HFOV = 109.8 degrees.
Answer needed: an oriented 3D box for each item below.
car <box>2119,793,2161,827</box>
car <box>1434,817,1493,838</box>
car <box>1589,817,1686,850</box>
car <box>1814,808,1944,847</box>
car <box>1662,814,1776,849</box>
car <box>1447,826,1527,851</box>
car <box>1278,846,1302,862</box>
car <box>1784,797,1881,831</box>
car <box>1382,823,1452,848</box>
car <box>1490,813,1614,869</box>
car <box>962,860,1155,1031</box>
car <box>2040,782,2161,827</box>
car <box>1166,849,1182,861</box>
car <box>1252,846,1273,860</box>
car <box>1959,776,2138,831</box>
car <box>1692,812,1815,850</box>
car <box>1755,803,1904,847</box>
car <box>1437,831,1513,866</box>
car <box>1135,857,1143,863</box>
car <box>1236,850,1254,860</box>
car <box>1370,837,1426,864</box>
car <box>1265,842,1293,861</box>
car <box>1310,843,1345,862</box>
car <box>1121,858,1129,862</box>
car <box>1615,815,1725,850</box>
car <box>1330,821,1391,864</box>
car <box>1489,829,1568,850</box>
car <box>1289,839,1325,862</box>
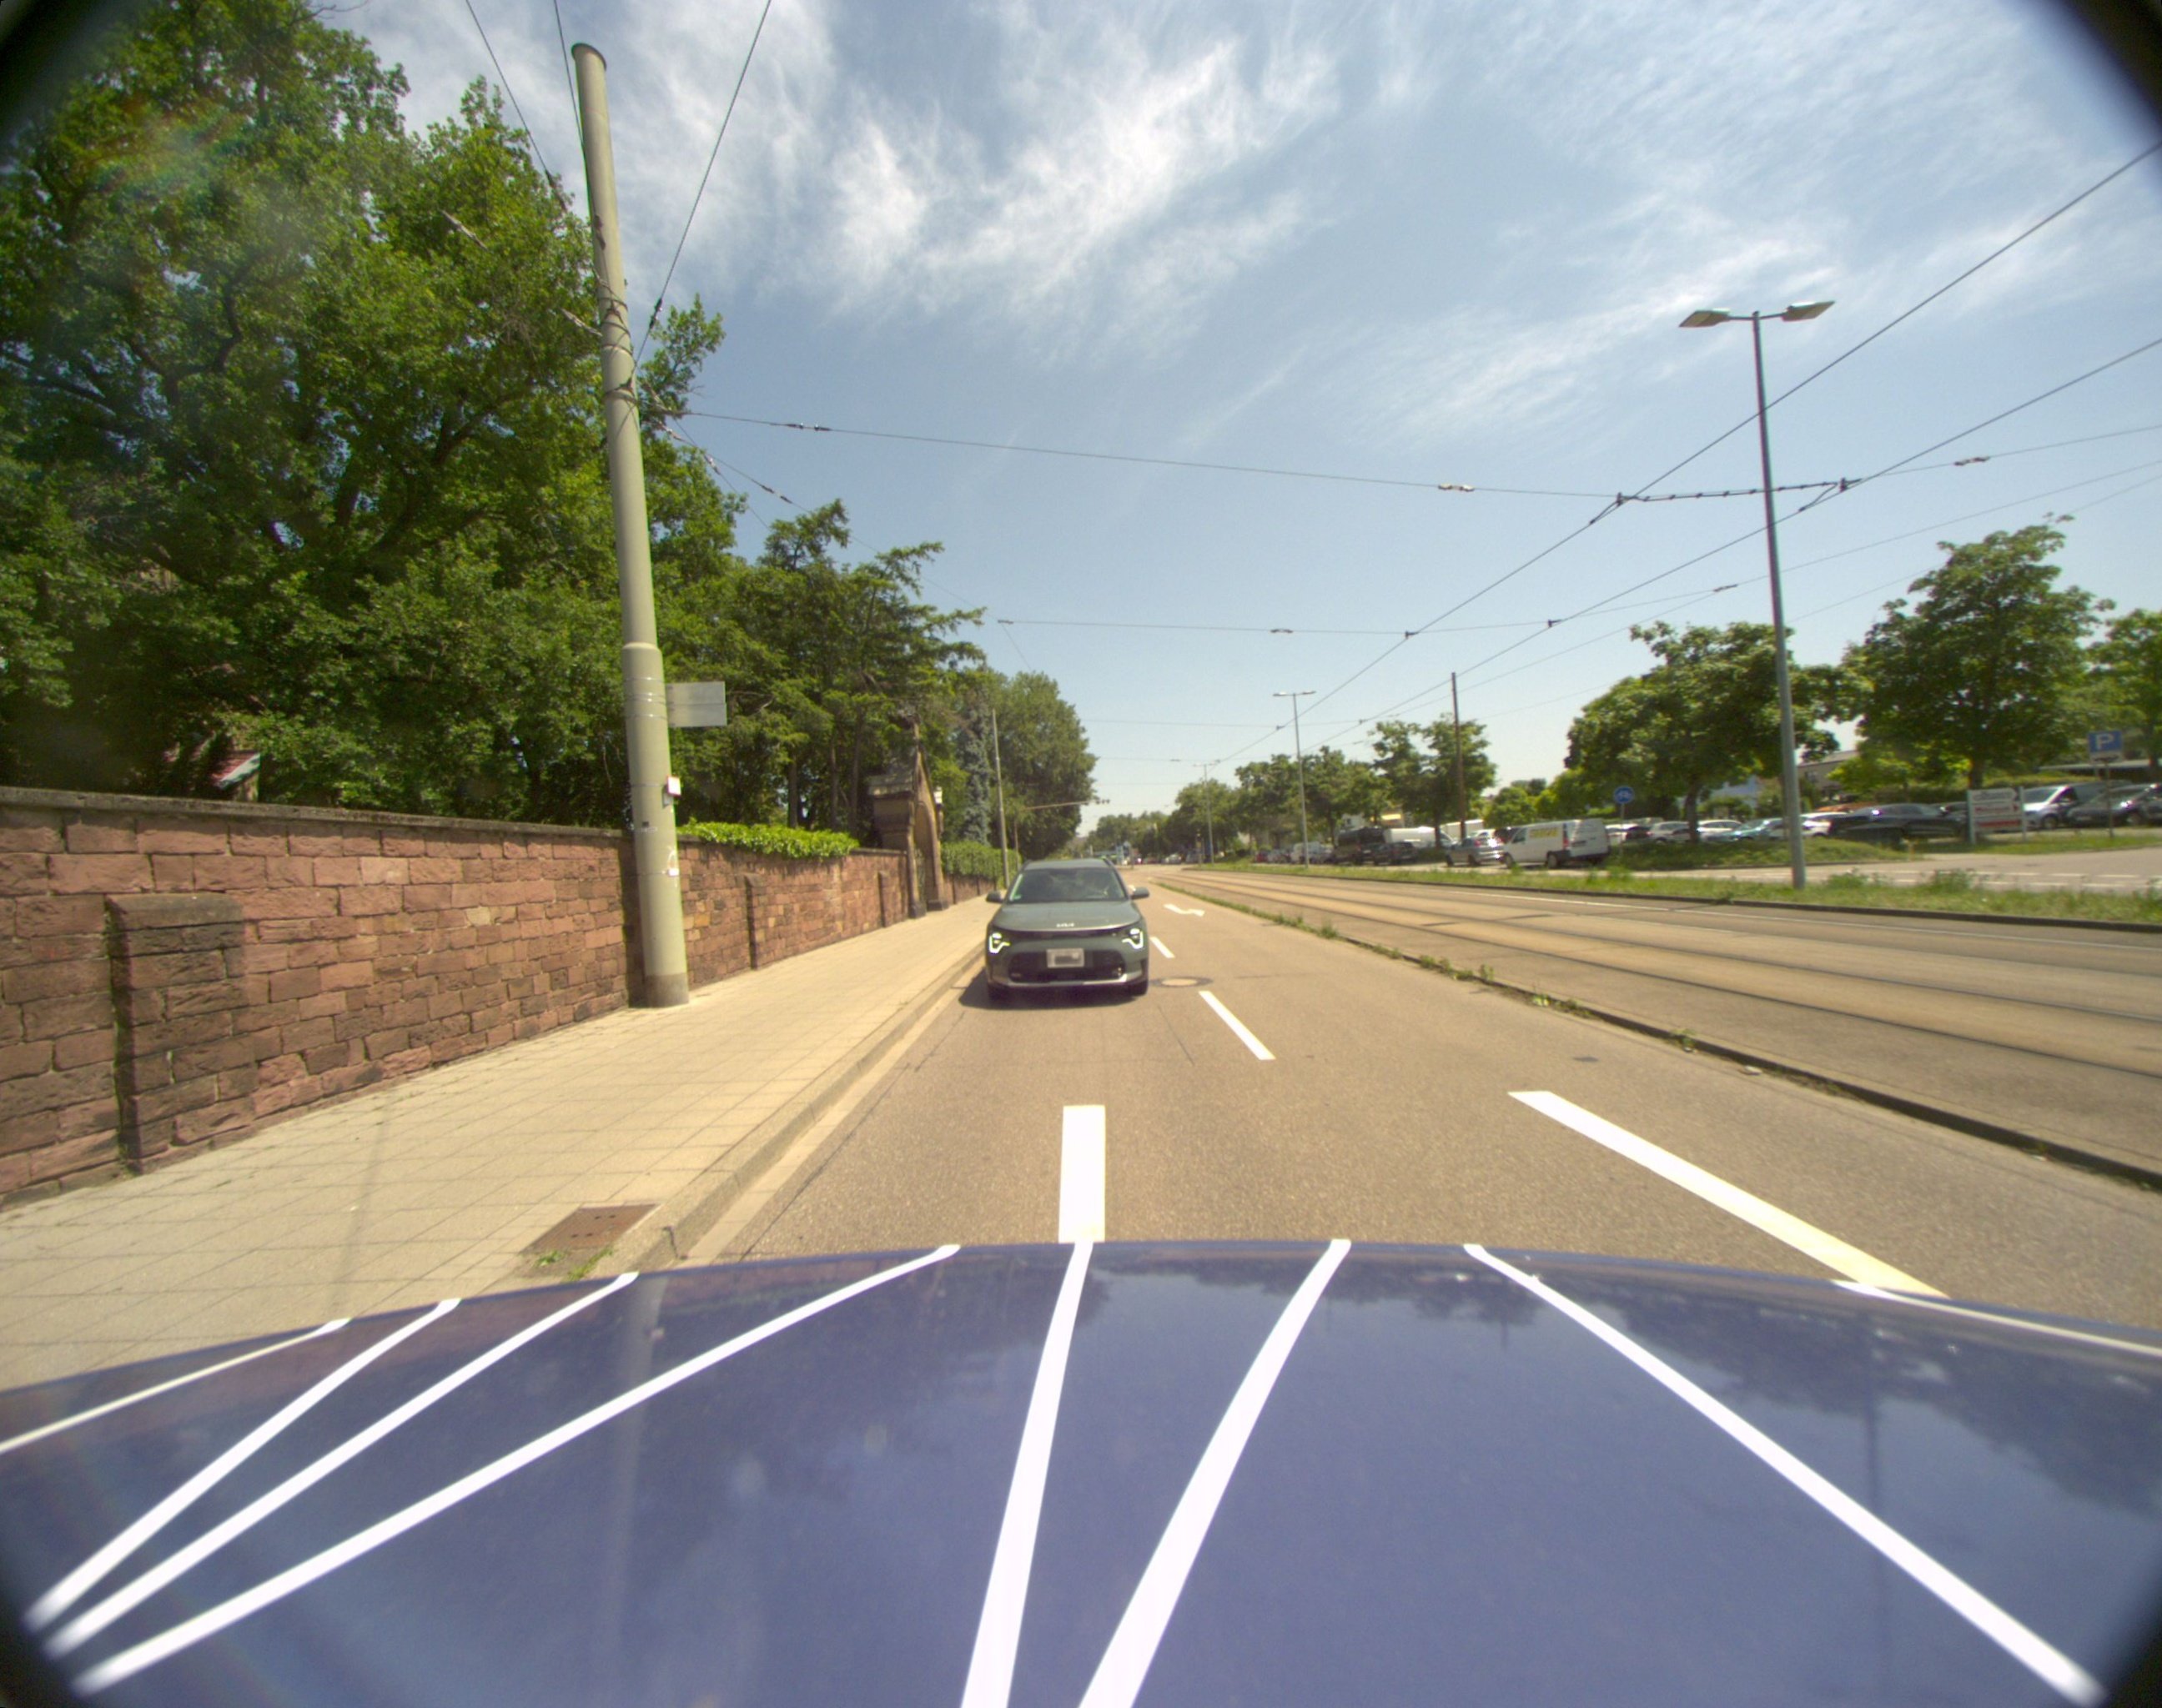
[{"bbox_3d":[42.557,-1.761,28.859,3.724,1.277,1.764,-3,1,3],"label":"car"},{"bbox_3d":[44.843,-3.097,89.107,5.744,2.051,2.147,-3,1,-2],"label":"car"},{"bbox_3d":[30.636,-1.115,41.875,4.075,1.481,1.831,-4,0,-6],"label":"car"},{"bbox_3d":[30.335,-0.988,28.922,3.423,1.225,1.643,-4,0,-6],"label":"car"},{"bbox_3d":[30.720,-1.069,36.631,4.146,1.481,1.859,-3,1,-6],"label":"car"},{"bbox_3d":[30.978,-1.170,58.066,4.926,1.567,2.000,-4,0,-2],"label":"car"},{"bbox_3d":[20.348,-0.035,74.125,1.429,1.470,3.262,-3,1,0],"label":"car"},{"bbox_3d":[43.496,-2.293,43.998,4.129,1.643,1.692,-3,0,-5],"label":"car"},{"bbox_3d":[30.412,-1.675,68.902,5.434,1.944,2.029,-3,1,2],"label":"car"},{"bbox_3d":[19.833,-0.519,32.340,1.880,1.999,5.344,-7,0,1],"label":"car"},{"bbox_3d":[-0.240,0.928,9.709,1.824,1.577,4.287,-4,0,0],"label":"car"},{"bbox_3d":[43.059,-2.063,31.559,3.996,1.647,1.804,-3,1,3],"label":"car"},{"bbox_3d":[15.809,0.204,129.233,1.821,1.979,4.212,-3,1,-3],"label":"car"},{"bbox_3d":[20.400,-0.120,85.356,1.582,1.471,3.423,-3,1,2],"label":"car"},{"bbox_3d":[43.144,-2.212,33.981,5.120,2.058,2.226,-3,1,1],"label":"car"},{"bbox_3d":[30.201,-0.995,34.174,4.040,1.481,1.912,-3,1,-6],"label":"car"},{"bbox_3d":[30.924,-1.159,31.491,4.172,1.481,1.984,-4,0,-1],"label":"car"},{"bbox_3d":[19.942,-0.281,38.620,1.654,1.494,4.126,-7,0,1],"label":"car"},{"bbox_3d":[15.006,1.608,196.657,1.820,1.471,3.423,-3,1,2],"label":"car"},{"bbox_3d":[21.016,0.112,97.406,1.582,1.152,3.423,-3,1,2],"label":"car"},{"bbox_3d":[20.090,-0.244,48.315,1.976,1.568,3.752,-3,1,1],"label":"car"},{"bbox_3d":[20.571,-0.288,79.118,1.635,1.882,4.496,-3,1,0],"label":"car"},{"bbox_3d":[20.341,-0.153,62.733,1.767,1.456,3.608,-3,1,2],"label":"car"},{"bbox_3d":[12.914,1.748,221.659,1.781,1.310,3.752,-3,1,-6],"label":"car"},{"bbox_3d":[30.208,-1.078,39.043,4.163,1.481,2.023,-4,0,-6],"label":"car"},{"bbox_3d":[19.999,-0.808,54.676,2.244,2.821,5.667,-3,1,1],"label":"car"},{"bbox_3d":[30.758,-0.963,52.295,4.261,1.137,2.033,-4,0,-3],"label":"car"},{"bbox_3d":[20.336,-0.326,68.584,1.924,1.937,4.817,-3,1,2],"label":"car"}]
